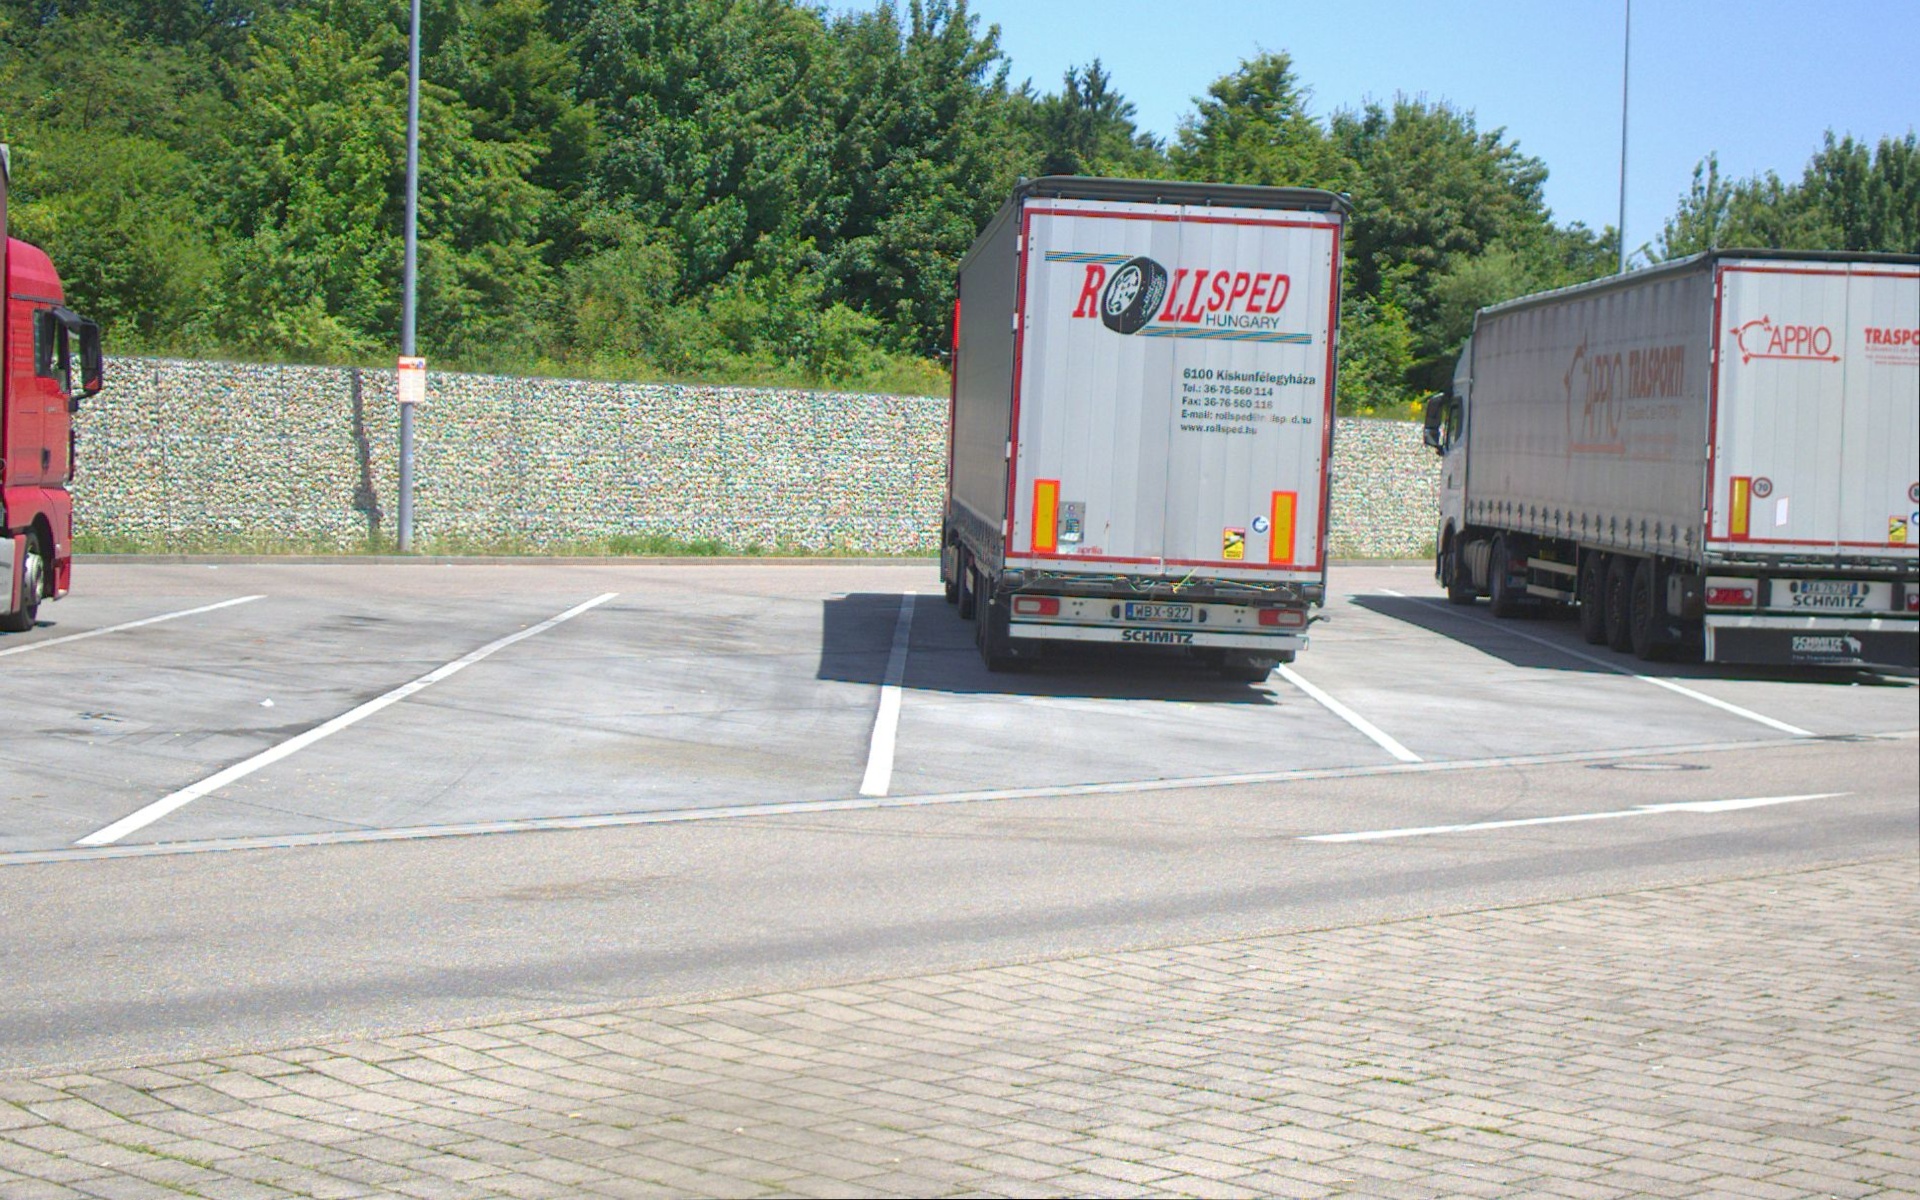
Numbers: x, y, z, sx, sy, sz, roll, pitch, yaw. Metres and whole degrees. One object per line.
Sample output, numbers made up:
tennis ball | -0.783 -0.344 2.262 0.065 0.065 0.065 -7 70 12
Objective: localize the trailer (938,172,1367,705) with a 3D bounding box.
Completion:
trailer | 1.437 -1.636 33.628 2.866 4.023 14.243 2 3 -2

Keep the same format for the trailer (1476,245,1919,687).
trailer | 8.182 -1.567 37.966 2.866 4.023 12.439 2 3 0

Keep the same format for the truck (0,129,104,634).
truck | -9.150 -1.813 27.989 2.696 4.099 6.240 2 3 0

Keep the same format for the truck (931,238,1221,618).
truck | 1.225 -2.055 40.707 2.866 4.023 7.028 2 3 -2

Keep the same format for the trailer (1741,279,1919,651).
trailer | 11.837 -1.527 39.030 2.866 4.023 12.439 2 3 0

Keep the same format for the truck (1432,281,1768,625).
truck | 8.123 -1.950 44.593 2.866 4.023 6.957 2 3 0
